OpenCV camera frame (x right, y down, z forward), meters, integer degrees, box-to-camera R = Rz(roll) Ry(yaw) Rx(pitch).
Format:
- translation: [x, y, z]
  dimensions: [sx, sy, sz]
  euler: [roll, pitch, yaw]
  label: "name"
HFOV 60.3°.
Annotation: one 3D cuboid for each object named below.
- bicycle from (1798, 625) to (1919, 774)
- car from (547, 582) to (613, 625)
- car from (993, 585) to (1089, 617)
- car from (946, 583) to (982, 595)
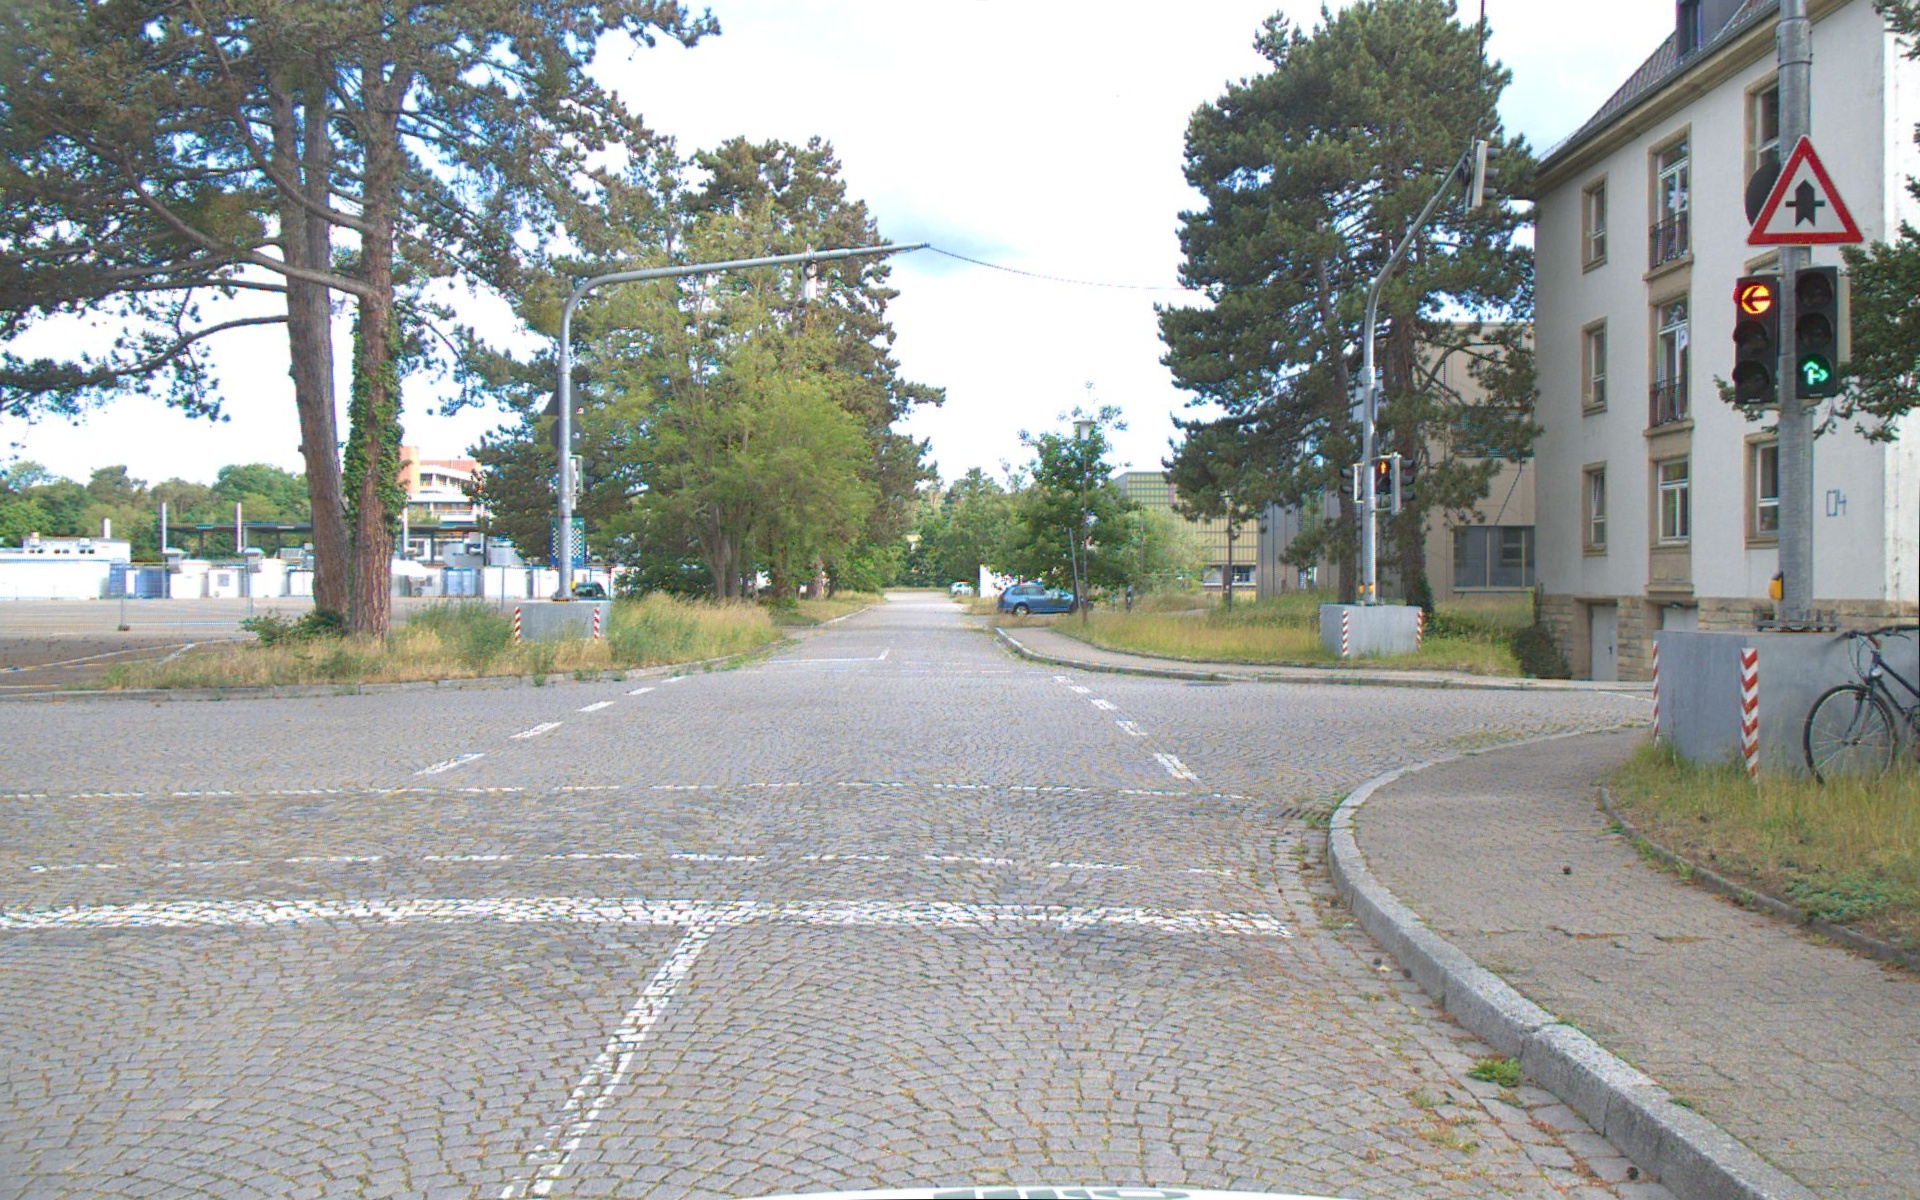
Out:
- translation: [6.235, 0.612, 10.383]
  dimensions: [1.665, 0.889, 0.573]
  euler: [0, 1, -1]
  label: "bicycle"
- translation: [-13.957, 0.098, 60.933]
  dimensions: [1.580, 1.513, 3.999]
  euler: [0, 1, -1]
  label: "car"
- translation: [3.717, 0.021, 76.280]
  dimensions: [4.258, 1.447, 1.999]
  euler: [0, 1, -4]
  label: "car"
- translation: [0.468, -1.281, 193.288]
  dimensions: [3.911, 1.422, 1.997]
  euler: [0, 1, -7]
  label: "car"
